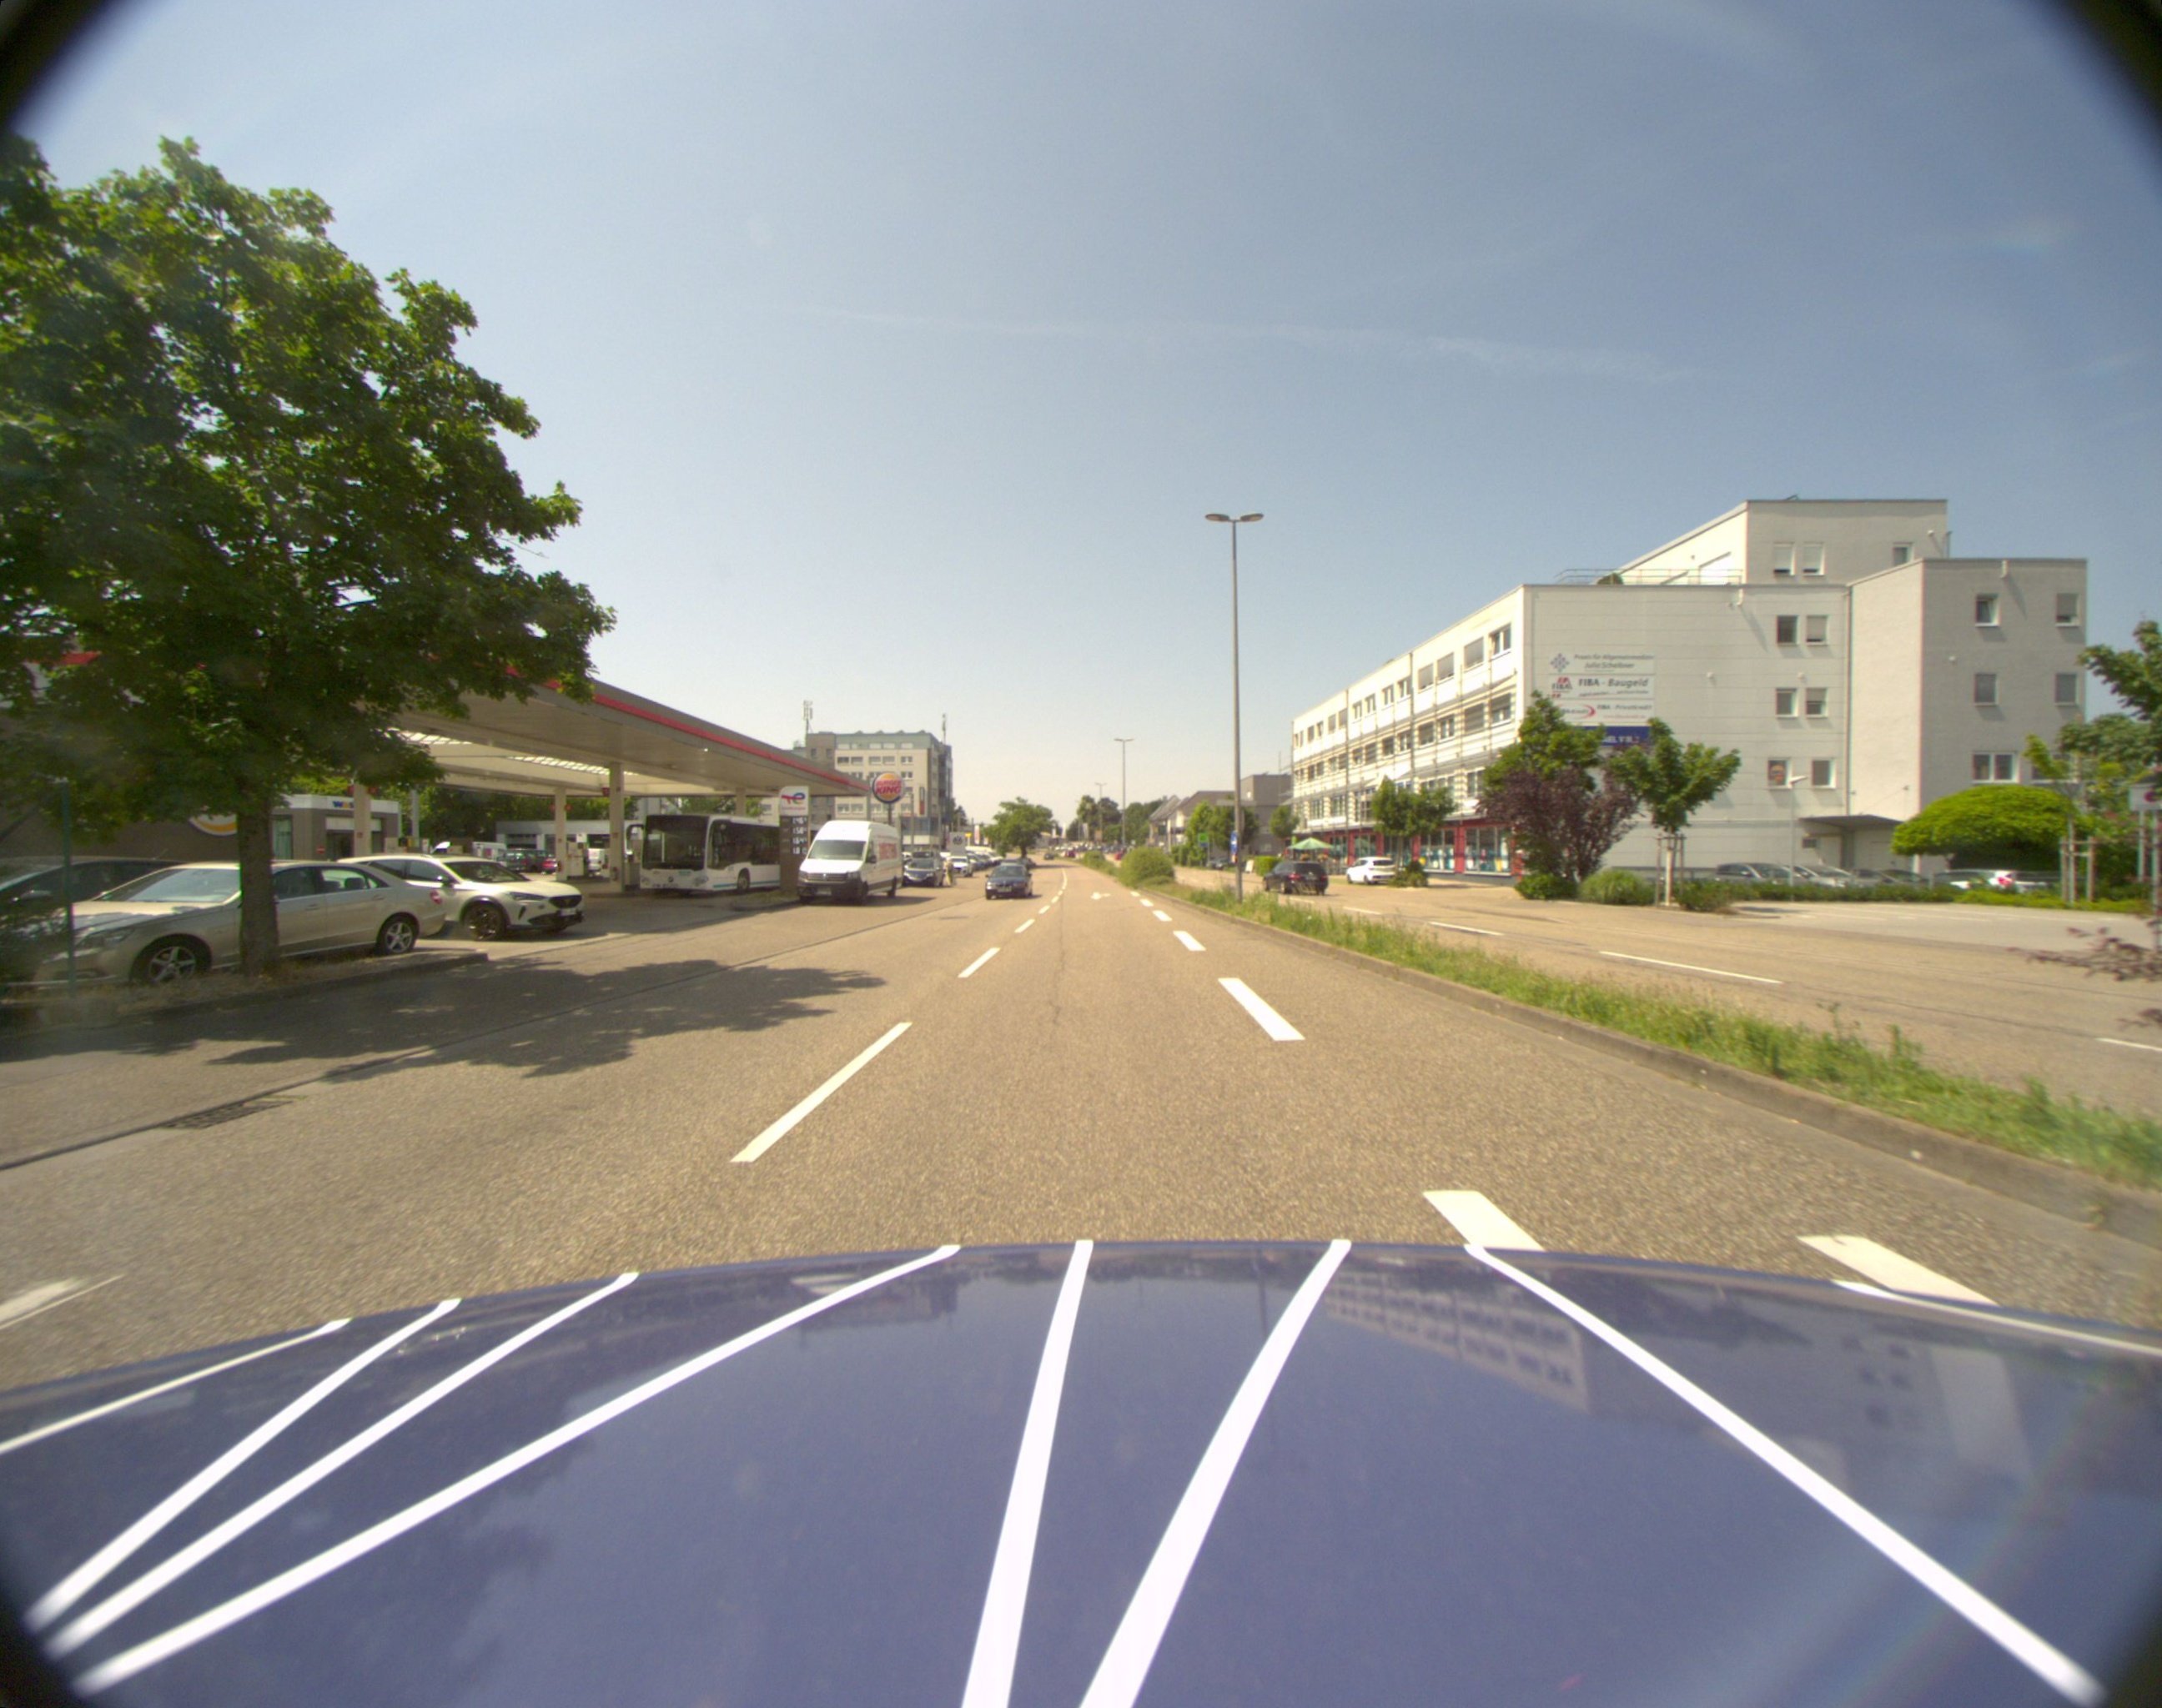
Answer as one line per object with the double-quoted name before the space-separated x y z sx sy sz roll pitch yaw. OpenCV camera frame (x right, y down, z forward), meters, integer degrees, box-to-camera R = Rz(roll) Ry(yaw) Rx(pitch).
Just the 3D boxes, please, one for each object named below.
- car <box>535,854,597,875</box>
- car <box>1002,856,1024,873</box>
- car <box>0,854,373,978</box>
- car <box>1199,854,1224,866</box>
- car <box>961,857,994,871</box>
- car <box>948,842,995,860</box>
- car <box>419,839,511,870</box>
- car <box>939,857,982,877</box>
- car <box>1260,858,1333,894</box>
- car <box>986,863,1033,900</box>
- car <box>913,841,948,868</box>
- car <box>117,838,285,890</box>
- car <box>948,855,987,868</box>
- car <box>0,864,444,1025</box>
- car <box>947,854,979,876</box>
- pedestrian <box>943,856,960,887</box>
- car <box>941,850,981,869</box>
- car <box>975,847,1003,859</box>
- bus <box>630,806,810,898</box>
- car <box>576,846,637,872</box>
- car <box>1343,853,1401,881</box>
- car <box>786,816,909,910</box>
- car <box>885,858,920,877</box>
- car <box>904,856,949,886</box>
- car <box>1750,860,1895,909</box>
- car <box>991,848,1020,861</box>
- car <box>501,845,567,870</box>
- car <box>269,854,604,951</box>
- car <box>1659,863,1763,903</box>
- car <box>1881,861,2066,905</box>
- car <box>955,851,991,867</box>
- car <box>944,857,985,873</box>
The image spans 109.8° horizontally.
"car" -38.884 0.790 57.492 1.843 1.496 4.205 0 0 -1
"car" -6.427 0.996 72.308 1.867 1.550 3.999 0 0 -2
"car" -13.698 0.778 11.592 1.906 1.527 4.251 0 0 -2
"car" 15.435 0.744 89.839 2.737 1.404 1.446 0 0 -1
"car" -12.945 1.209 94.982 3.999 1.755 1.724 0 0 -6
"car" -16.657 -0.440 115.567 6.879 2.589 1.726 0 1 9
"car" -46.888 0.007 58.068 1.999 2.224 6.383 0 0 -2
"car" -11.743 1.261 74.162 3.999 1.907 1.724 0 0 -6
"car" 9.741 0.947 34.695 1.833 1.452 4.711 0 0 -2
"car" -2.894 1.089 31.391 1.632 1.331 3.756 -1 0 -1
"car" -11.495 0.034 58.201 1.999 2.002 3.999 0 0 -2
"car" -35.280 0.366 30.672 4.236 1.981 1.712 0 1 -42
"car" -12.274 0.807 82.331 3.999 1.440 1.724 0 0 -6
"car" -11.016 0.923 9.793 1.798 1.458 4.636 2 0 -2
"car" -9.037 0.822 58.437 1.860 1.572 3.999 2 0 -1
"pedestrian" -6.892 0.931 40.555 0.704 1.572 0.820 3 0 -2
"car" -12.515 0.582 79.594 3.999 1.906 1.724 0 0 -6
"car" -13.587 -0.167 112.356 3.999 1.755 1.724 0 0 -6
"bus" -14.016 -0.076 30.624 2.756 3.134 9.078 0 0 1
"car" -35.714 0.358 57.324 1.999 1.820 4.205 0 0 -1
"car" 15.998 0.694 41.975 1.696 1.440 3.664 -1 0 -2
"car" -7.908 0.271 26.689 2.183 2.757 7.276 2 0 -2
"car" -13.599 1.012 58.020 1.808 1.368 3.999 0 0 -2
"car" -8.124 0.880 40.330 1.681 1.440 3.840 2 0 -2
"car" 25.351 1.000 26.146 1.557 1.510 3.556 0 0 1
"car" -10.534 0.120 105.946 3.999 1.755 1.724 0 0 -6
"car" -41.396 0.251 57.626 1.979 1.748 4.205 0 0 -1
"car" -11.869 0.855 14.232 4.633 1.518 1.907 2 0 1
"car" 22.760 1.022 27.574 1.456 1.332 2.833 0 0 1
"car" 30.667 0.935 26.306 1.925 1.376 3.834 0 0 2
"car" -12.400 0.544 87.084 3.999 1.776 1.724 0 0 -6
"car" -11.759 1.055 76.661 3.999 1.568 1.724 0 0 -6
